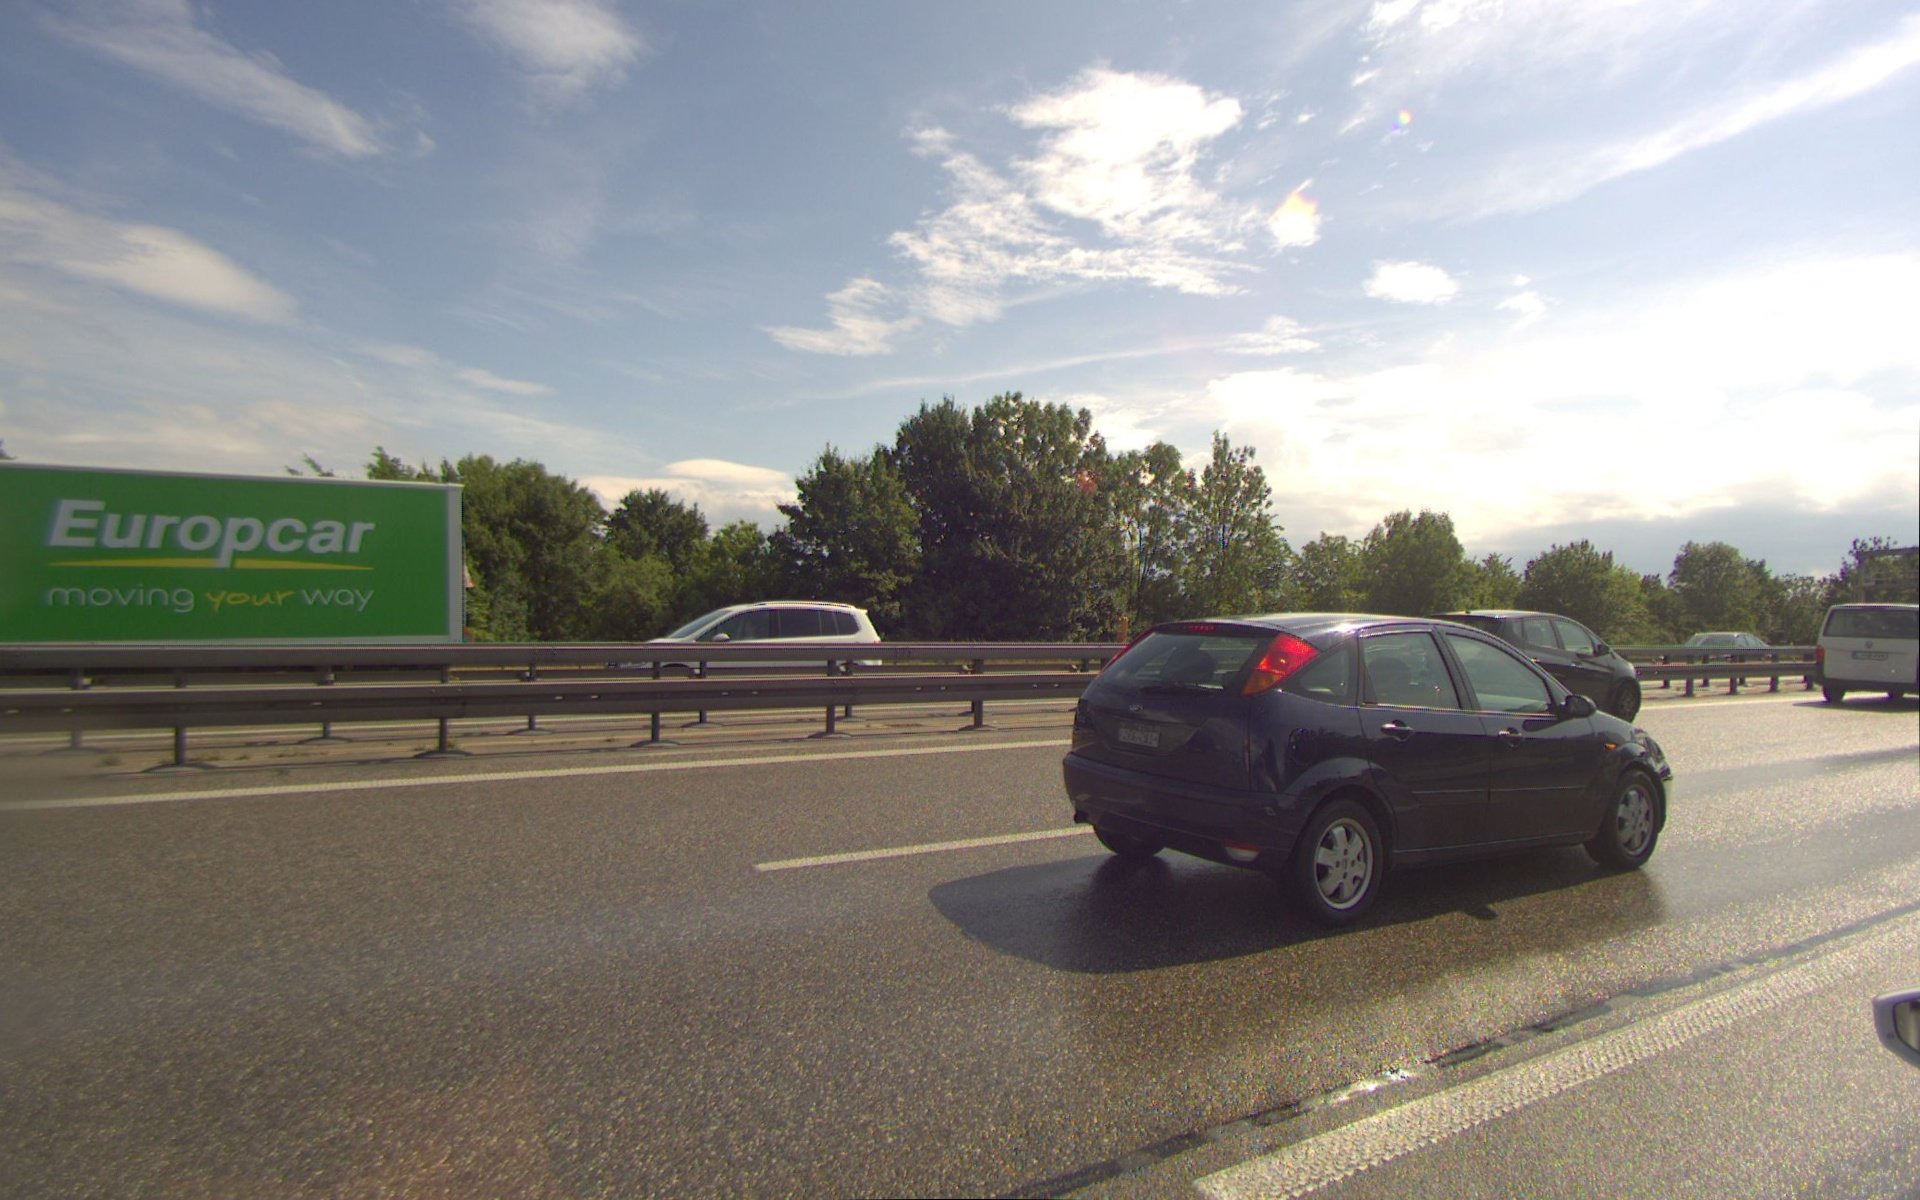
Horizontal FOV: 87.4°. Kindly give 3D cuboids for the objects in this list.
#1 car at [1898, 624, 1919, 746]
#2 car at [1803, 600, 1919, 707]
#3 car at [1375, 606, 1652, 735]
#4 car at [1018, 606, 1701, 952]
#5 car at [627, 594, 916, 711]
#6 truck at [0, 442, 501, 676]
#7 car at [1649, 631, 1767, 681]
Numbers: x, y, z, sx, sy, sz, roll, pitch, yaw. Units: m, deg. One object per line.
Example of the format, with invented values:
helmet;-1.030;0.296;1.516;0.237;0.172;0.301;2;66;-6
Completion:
car;13.623;1.072;12.390;3.781;1.477;1.978;1;0;-30
car;19.468;1.042;20.608;4.959;1.959;1.838;1;0;-31
car;7.983;0.935;14.434;3.871;1.599;1.774;1;0;-31
car;2.481;0.811;6.046;3.952;1.462;1.750;1;0;-30
car;-2.972;0.785;16.139;4.202;1.664;1.755;2;0;-33
truck;-11.781;-0.503;15.090;8.621;3.026;2.902;2;0;-31
car;24.355;1.803;32.701;3.953;1.483;1.670;1;0;-30
